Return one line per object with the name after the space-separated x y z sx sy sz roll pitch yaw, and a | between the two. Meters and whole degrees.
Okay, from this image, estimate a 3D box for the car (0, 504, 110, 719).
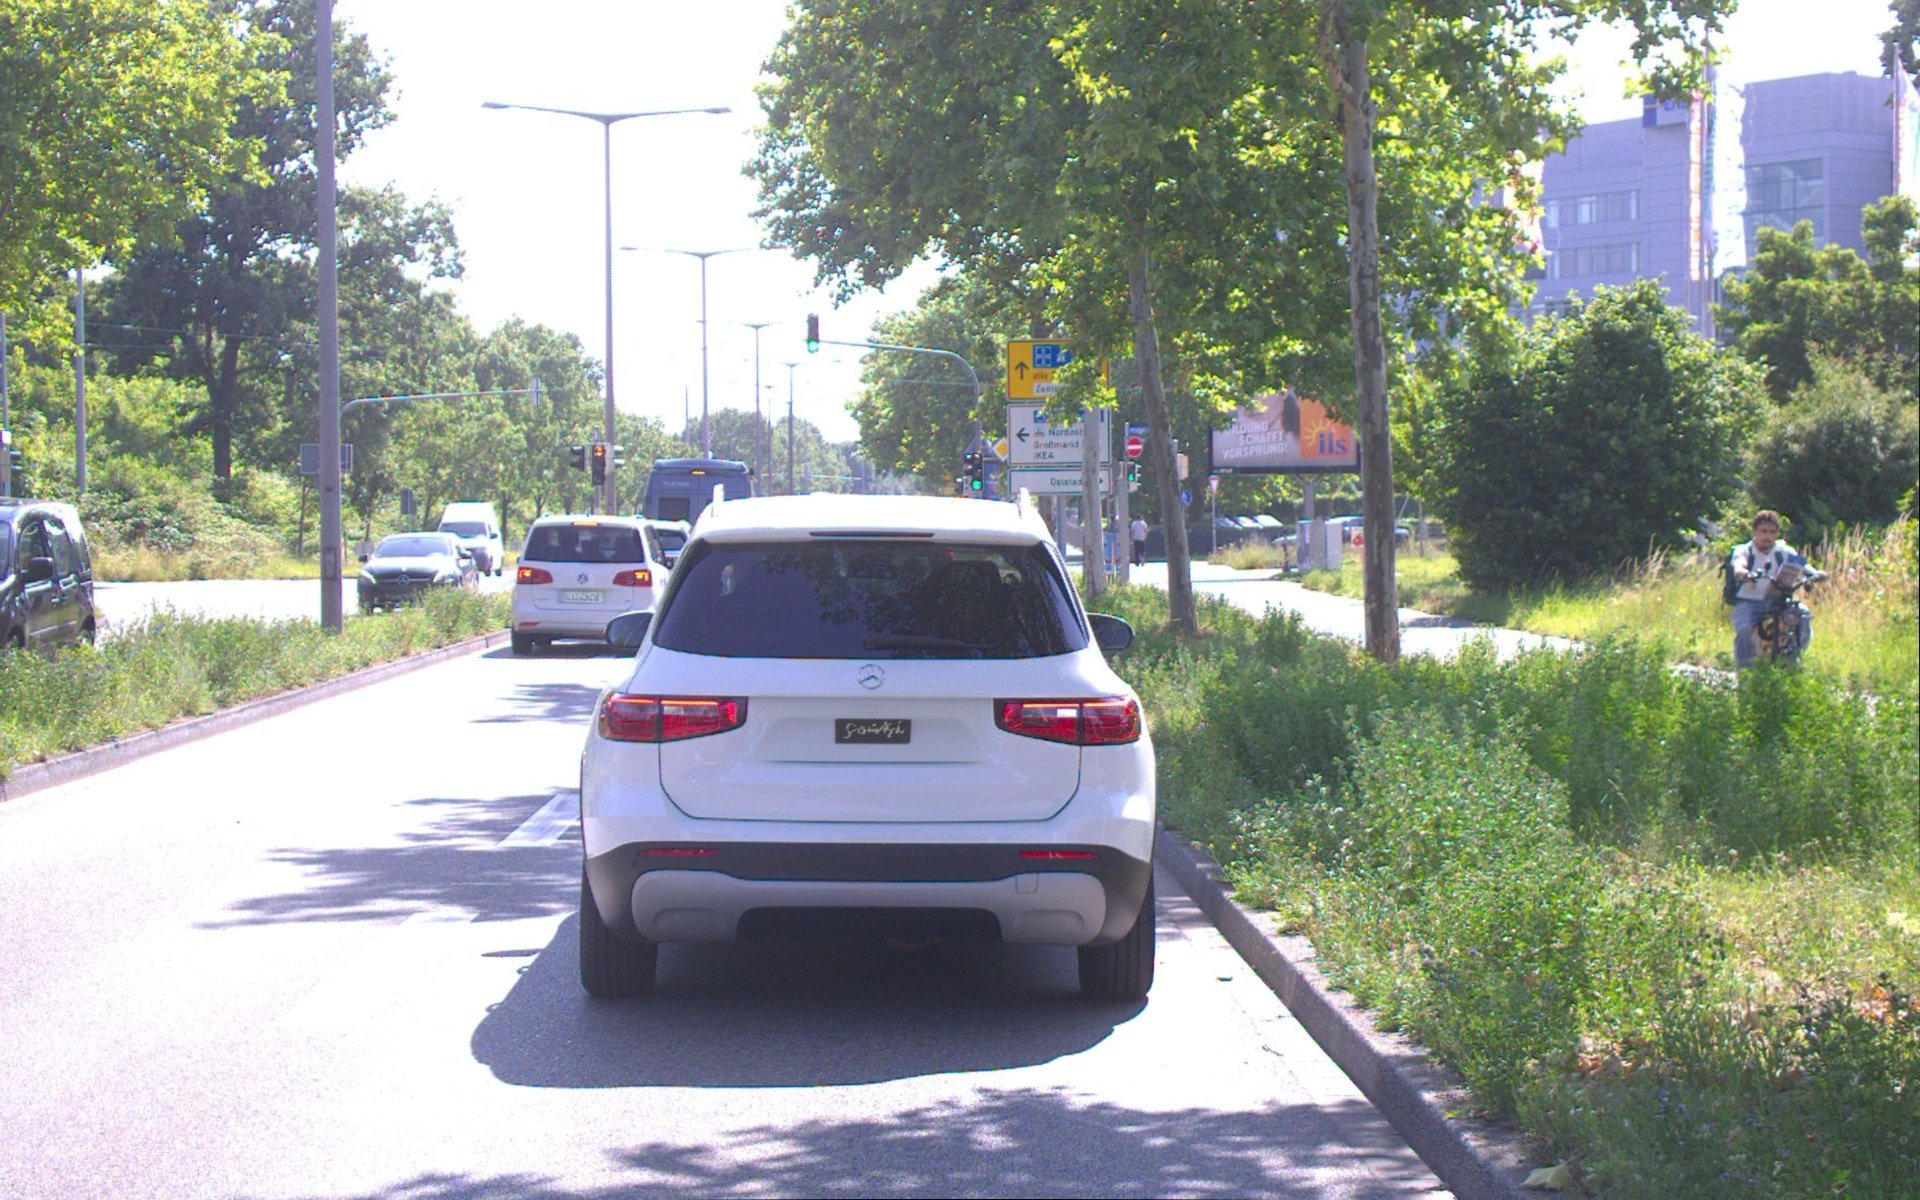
-8.880 0.045 30.318 1.731 1.803 4.232 2 1 -1 | car

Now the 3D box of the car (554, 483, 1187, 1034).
-0.403 0.418 12.101 1.853 1.602 4.001 0 1 -4 | car

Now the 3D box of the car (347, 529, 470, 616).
-9.739 -0.509 60.946 1.602 1.467 3.790 1 1 -1 | car

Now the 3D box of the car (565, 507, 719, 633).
-4.324 -0.433 47.205 1.771 1.641 4.085 1 1 -1 | car

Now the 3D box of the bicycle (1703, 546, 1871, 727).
6.203 0.245 25.889 0.722 1.294 2.096 1 1 -1 | bicycle

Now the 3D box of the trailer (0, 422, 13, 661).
-11.870 -0.651 37.222 1.880 2.734 4.829 2 1 -1 | trailer

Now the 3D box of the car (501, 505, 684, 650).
-4.365 -0.295 41.363 1.771 1.641 4.352 1 1 -1 | car

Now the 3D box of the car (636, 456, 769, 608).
-4.707 -1.254 63.459 2.081 2.647 4.874 1 1 -1 | car

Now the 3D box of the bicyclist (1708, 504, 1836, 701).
6.219 0.012 26.367 0.704 1.472 1.010 1 1 -1 | bicyclist

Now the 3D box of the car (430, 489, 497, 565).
-16.159 -2.376 112.126 1.993 2.410 5.140 0 1 -6 | car

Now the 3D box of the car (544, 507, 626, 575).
-10.775 -1.699 98.933 1.993 1.875 4.000 2 1 -2 | car
